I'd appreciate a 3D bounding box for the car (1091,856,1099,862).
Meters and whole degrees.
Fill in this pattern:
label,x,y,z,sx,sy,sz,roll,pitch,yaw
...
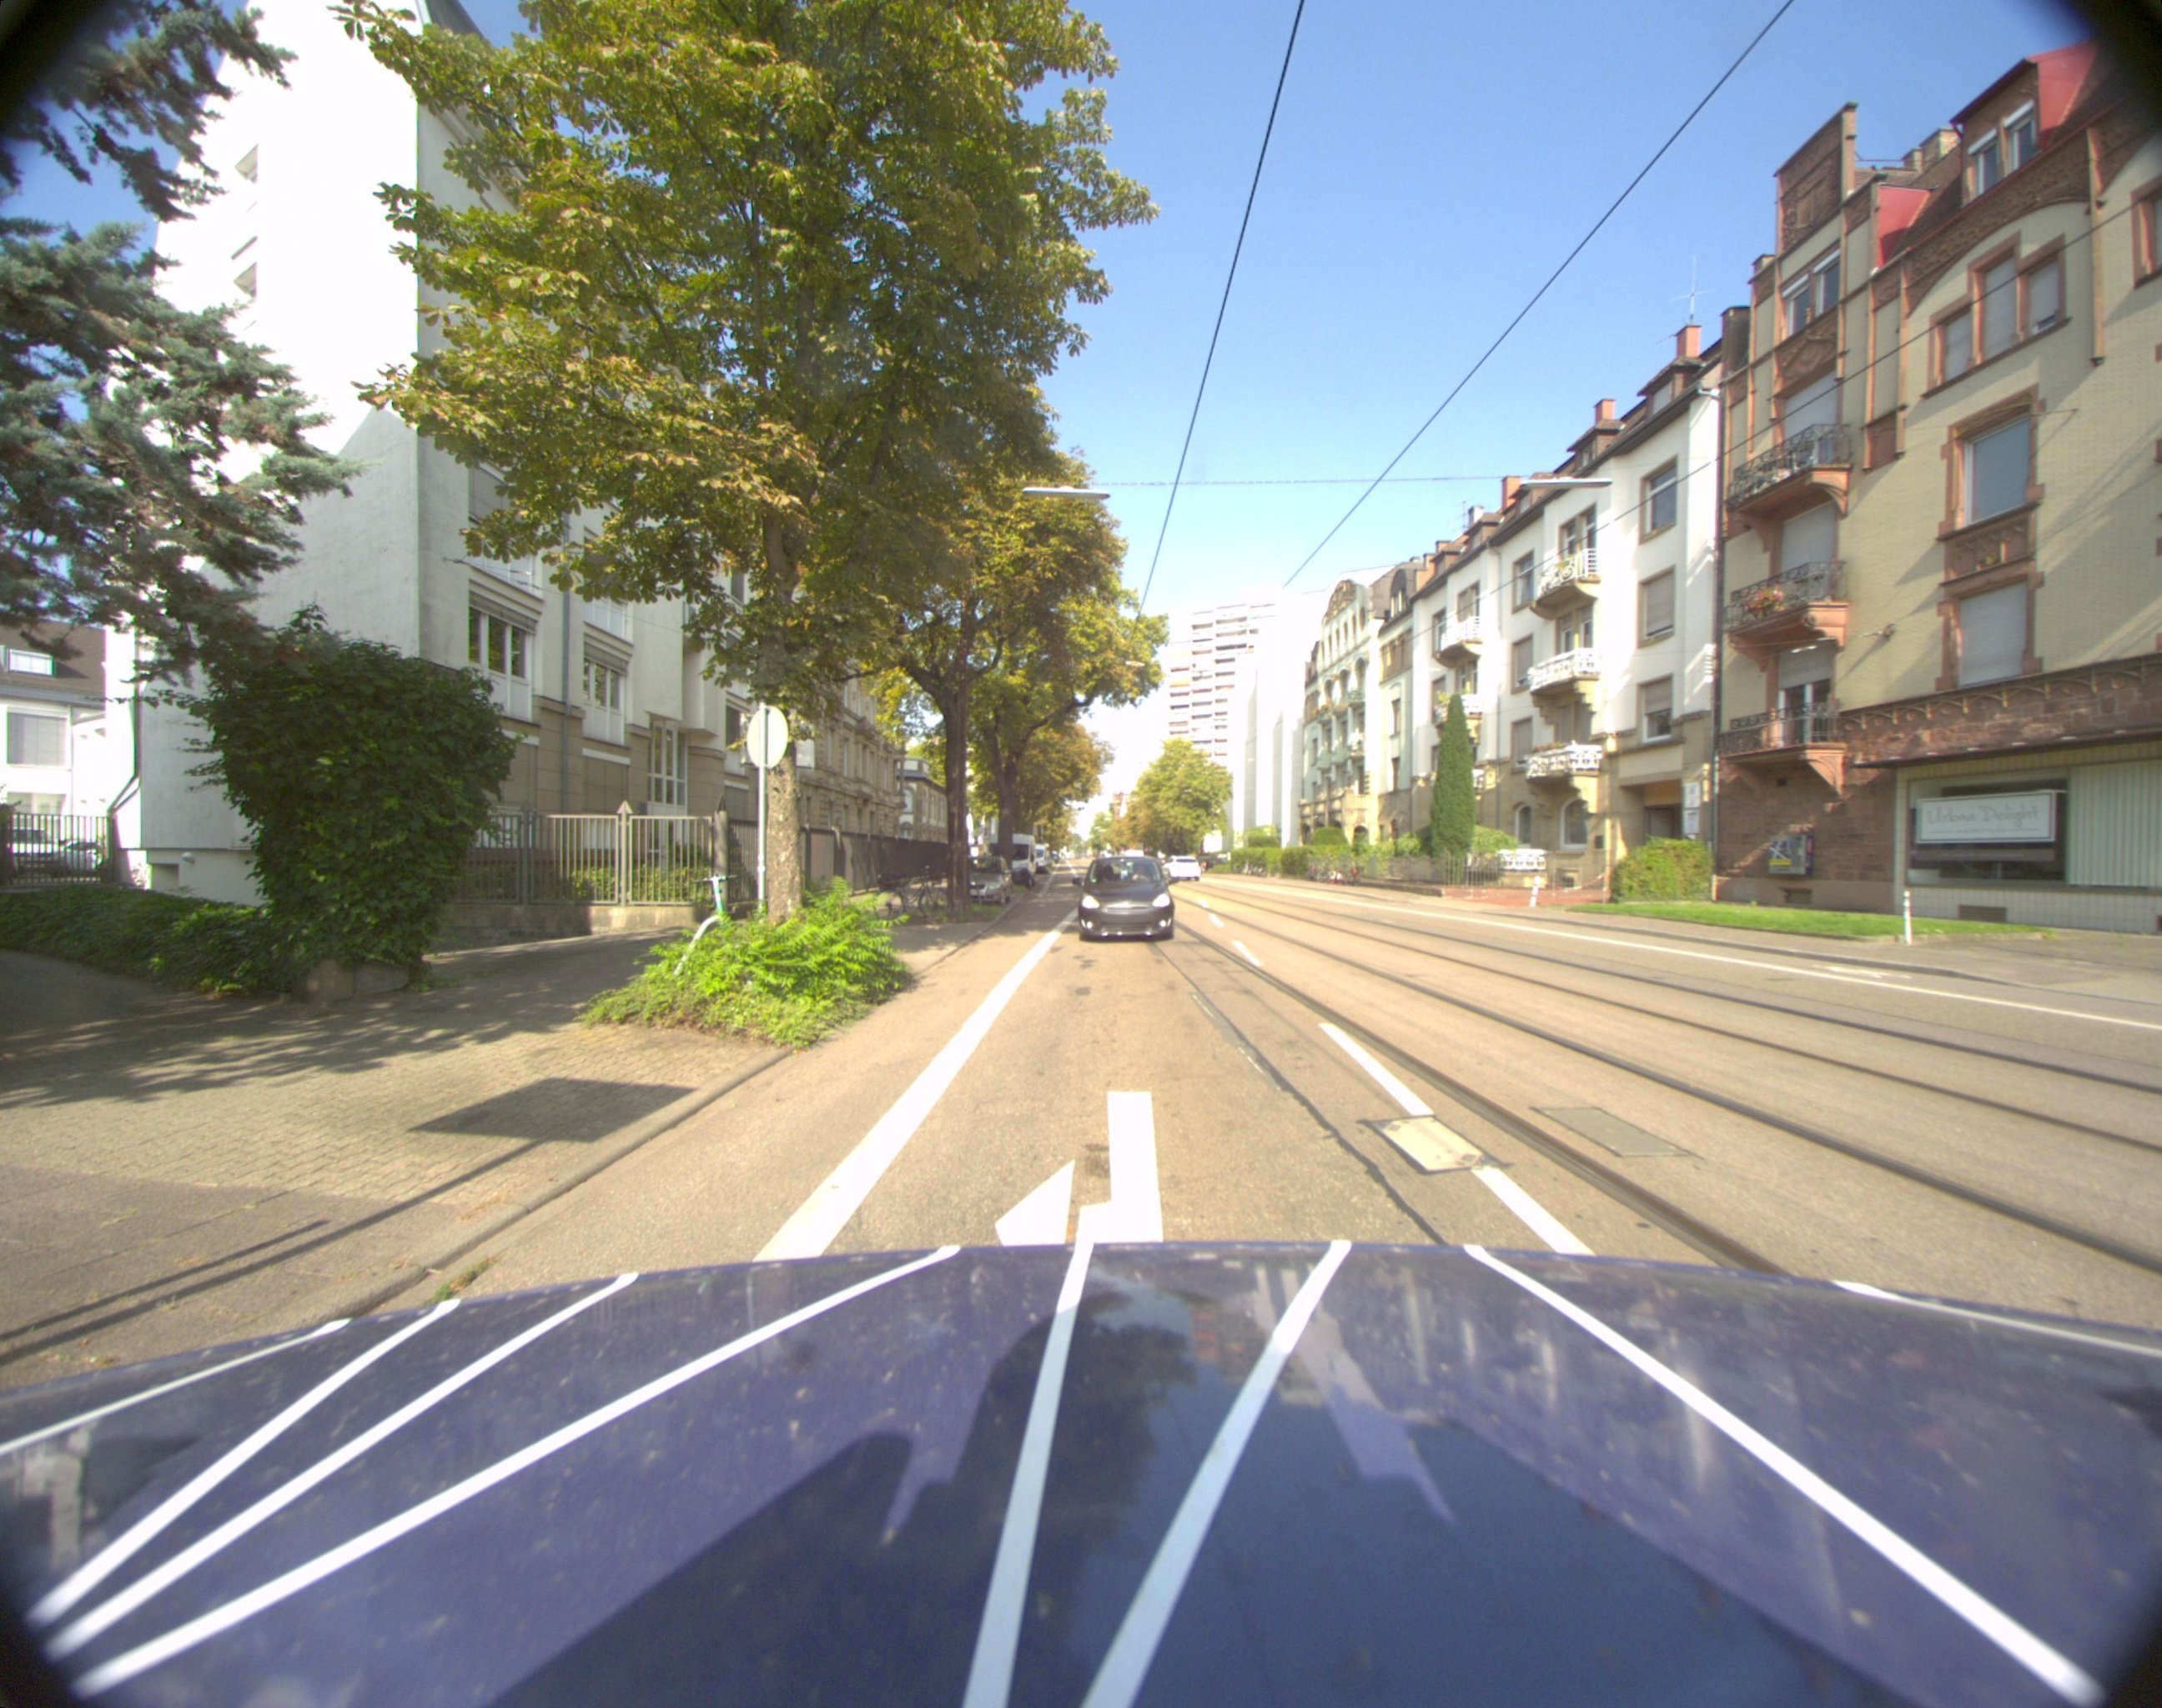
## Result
label,x,y,z,sx,sy,sz,roll,pitch,yaw
car,3.374,1.151,180.790,1.757,1.349,3.787,1,0,-2

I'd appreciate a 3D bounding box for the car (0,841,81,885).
label,x,y,z,sx,sy,sz,roll,pitch,yaw
car,-40.068,0.307,28.722,3.990,1.557,1.839,1,1,24

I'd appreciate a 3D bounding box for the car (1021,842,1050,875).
label,x,y,z,sx,sy,sz,roll,pitch,yaw
car,-3.651,0.348,62.182,1.999,2.526,5.867,2,0,0

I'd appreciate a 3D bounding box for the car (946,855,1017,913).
label,x,y,z,sx,sy,sz,roll,pitch,yaw
car,-2.960,0.839,23.477,1.611,1.515,4.356,3,0,-1

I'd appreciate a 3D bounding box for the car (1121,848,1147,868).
label,x,y,z,sx,sy,sz,roll,pitch,yaw
car,5.392,0.413,78.256,1.999,2.002,4.857,1,0,-4

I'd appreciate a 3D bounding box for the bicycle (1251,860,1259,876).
label,x,y,z,sx,sy,sz,roll,pitch,yaw
bicycle,12.252,0.963,53.512,0.425,1.081,1.677,1,0,8

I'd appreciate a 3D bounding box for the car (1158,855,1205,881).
label,x,y,z,sx,sy,sz,roll,pitch,yaw
car,6.030,0.804,46.049,1.877,1.446,4.543,3,0,-4

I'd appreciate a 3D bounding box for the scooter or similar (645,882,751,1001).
label,x,y,z,sx,sy,sz,roll,pitch,yaw
scooter or similar,-4.284,0.944,8.572,0.559,1.190,1.034,4,1,4

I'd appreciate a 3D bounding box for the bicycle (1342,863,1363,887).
label,x,y,z,sx,sy,sz,roll,pitch,yaw
bicycle,12.524,0.961,35.100,0.371,1.081,1.487,1,0,-2

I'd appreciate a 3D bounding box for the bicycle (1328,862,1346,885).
label,x,y,z,sx,sy,sz,roll,pitch,yaw
bicycle,12.406,0.951,36.873,0.371,1.081,1.355,1,0,-2

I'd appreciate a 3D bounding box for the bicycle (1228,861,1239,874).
label,x,y,z,sx,sy,sz,roll,pitch,yaw
bicycle,11.998,1.036,59.662,0.425,0.972,1.770,1,0,-2

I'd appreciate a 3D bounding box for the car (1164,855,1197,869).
label,x,y,z,sx,sy,sz,roll,pitch,yaw
car,11.238,0.863,85.376,1.767,1.518,4.009,1,0,40

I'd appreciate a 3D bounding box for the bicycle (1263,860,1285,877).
label,x,y,z,sx,sy,sz,roll,pitch,yaw
bicycle,12.776,0.952,50.419,1.397,1.081,0.425,1,1,-19

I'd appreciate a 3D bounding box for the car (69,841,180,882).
label,x,y,z,sx,sy,sz,roll,pitch,yaw
car,-39.063,0.282,31.026,3.990,1.557,1.839,1,1,24

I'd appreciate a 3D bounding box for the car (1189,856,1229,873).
label,x,y,z,sx,sy,sz,roll,pitch,yaw
car,11.558,0.933,68.430,1.767,1.518,4.009,1,0,40

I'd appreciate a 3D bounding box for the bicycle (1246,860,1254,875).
label,x,y,z,sx,sy,sz,roll,pitch,yaw
bicycle,12.087,0.950,54.319,0.425,1.081,1.677,1,0,8

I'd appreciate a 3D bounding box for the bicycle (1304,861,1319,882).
label,x,y,z,sx,sy,sz,roll,pitch,yaw
bicycle,12.548,0.954,41.405,0.371,1.081,1.355,1,0,-2

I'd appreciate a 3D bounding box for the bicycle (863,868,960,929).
label,x,y,z,sx,sy,sz,roll,pitch,yaw
bicycle,-3.497,0.913,15.779,1.846,1.160,0.503,3,5,-41

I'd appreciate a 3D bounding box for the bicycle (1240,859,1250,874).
label,x,y,z,sx,sy,sz,roll,pitch,yaw
bicycle,12.175,0.945,56.331,0.425,1.081,1.676,1,0,1

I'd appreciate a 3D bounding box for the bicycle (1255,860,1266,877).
label,x,y,z,sx,sy,sz,roll,pitch,yaw
bicycle,12.138,0.978,51.414,0.425,1.081,1.677,1,0,3

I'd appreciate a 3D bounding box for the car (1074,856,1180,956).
label,x,y,z,sx,sy,sz,roll,pitch,yaw
car,0.708,0.824,14.175,1.611,1.515,4.356,-1,0,-1

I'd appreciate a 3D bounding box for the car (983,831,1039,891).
label,x,y,z,sx,sy,sz,roll,pitch,yaw
car,-3.126,0.302,35.209,2.051,2.484,6.228,1,0,-1

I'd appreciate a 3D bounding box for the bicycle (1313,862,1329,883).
label,x,y,z,sx,sy,sz,roll,pitch,yaw
bicycle,12.528,0.945,39.634,0.371,1.081,1.355,1,0,-2

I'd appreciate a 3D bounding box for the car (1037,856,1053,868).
label,x,y,z,sx,sy,sz,roll,pitch,yaw
car,-4.265,0.926,90.527,1.757,1.349,3.787,1,0,-2

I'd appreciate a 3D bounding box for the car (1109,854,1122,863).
label,x,y,z,sx,sy,sz,roll,pitch,yaw
car,5.544,0.723,123.444,1.701,1.395,4.645,-1,0,-2

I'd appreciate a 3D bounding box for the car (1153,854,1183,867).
label,x,y,z,sx,sy,sz,roll,pitch,yaw
car,10.844,0.820,94.220,1.767,1.518,4.009,1,0,40
